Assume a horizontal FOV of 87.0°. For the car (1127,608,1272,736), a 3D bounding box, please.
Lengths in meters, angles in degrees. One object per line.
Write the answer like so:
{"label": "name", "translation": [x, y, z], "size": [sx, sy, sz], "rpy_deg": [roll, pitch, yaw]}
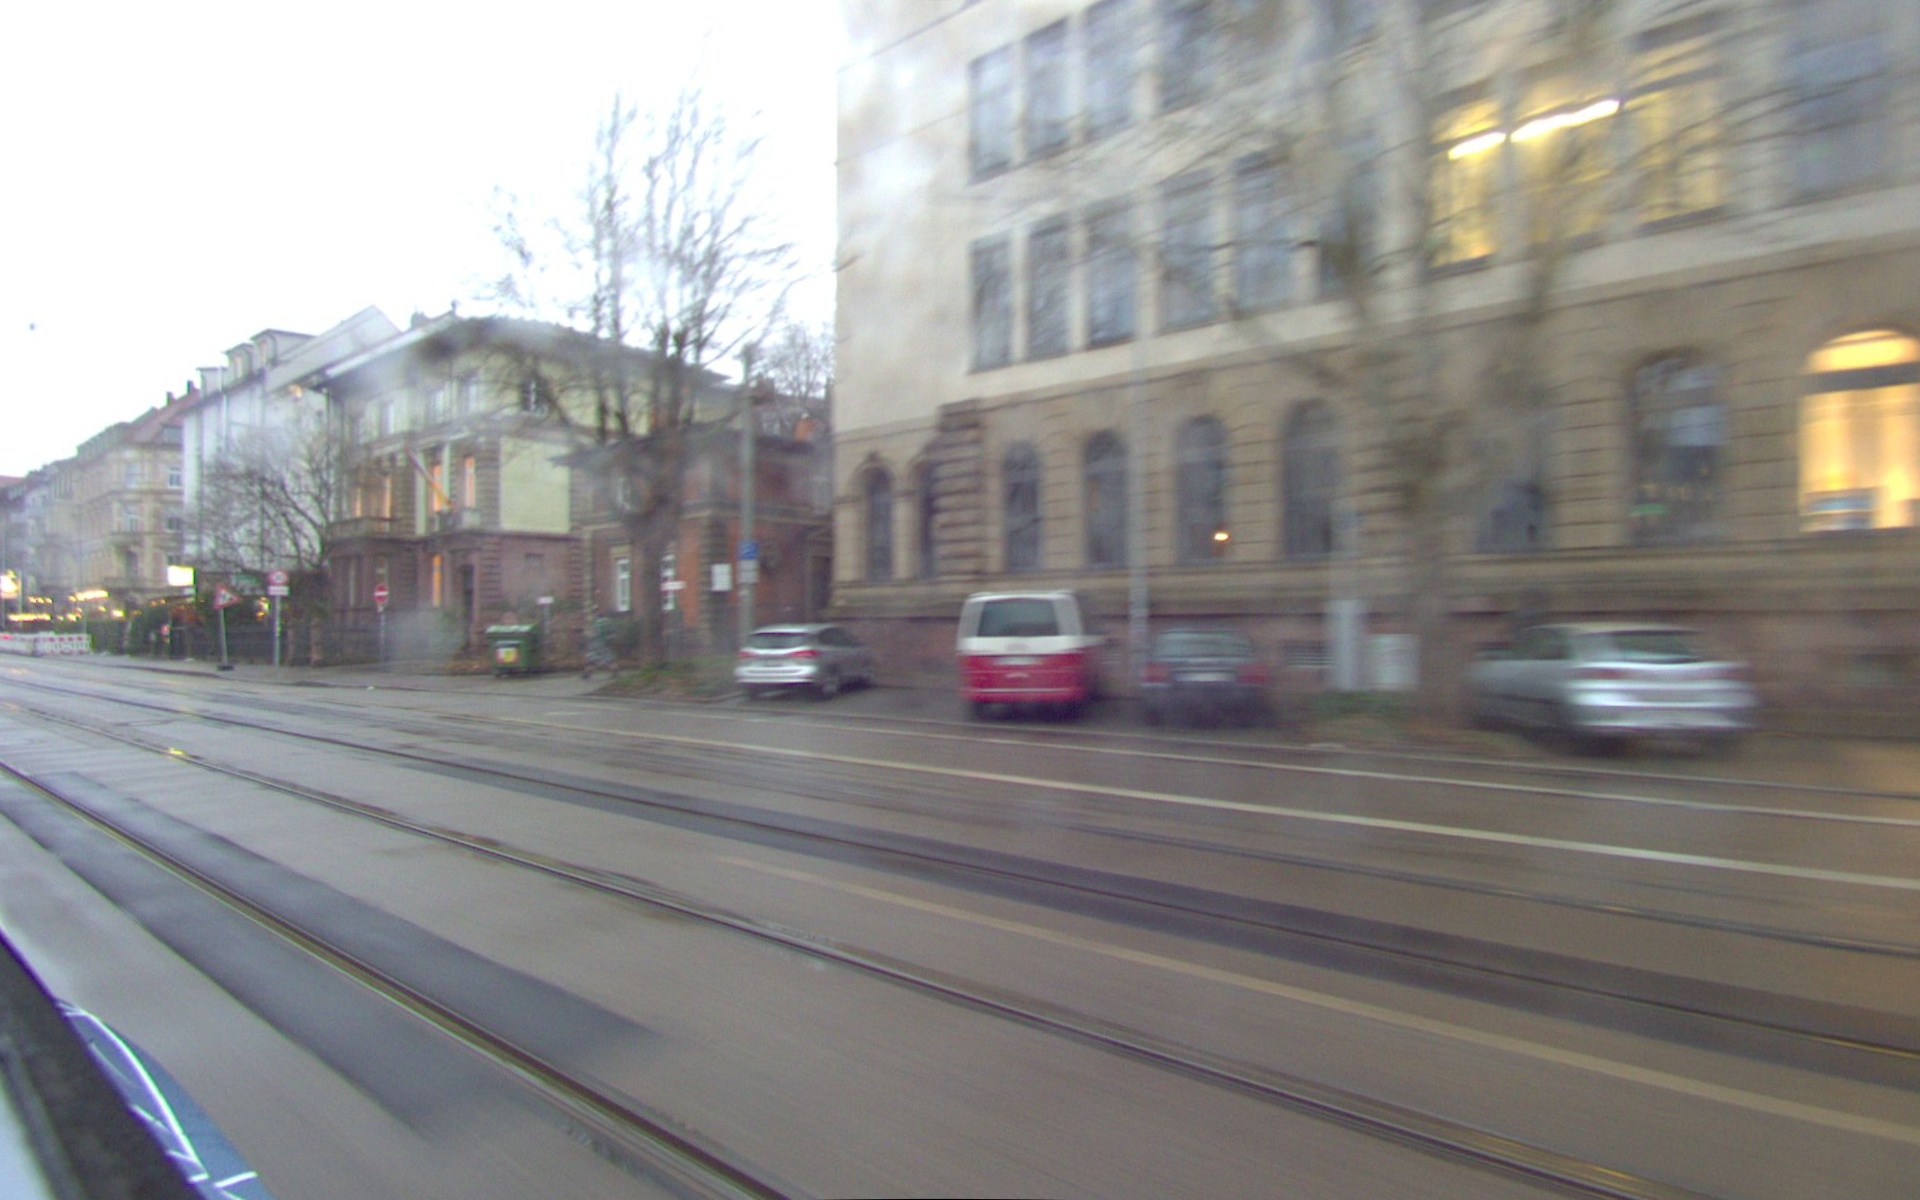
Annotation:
{"label": "car", "translation": [3.527, 0.968, 15.174], "size": [1.805, 1.551, 3.962], "rpy_deg": [-2, 1, 12]}

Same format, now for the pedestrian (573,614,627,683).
{"label": "pedestrian", "translation": [-9.374, 1.258, 26.361], "size": [0.940, 1.716, 0.919], "rpy_deg": [-2, 0, 17]}

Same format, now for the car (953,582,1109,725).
{"label": "car", "translation": [1.356, 0.760, 17.080], "size": [1.946, 2.069, 4.604], "rpy_deg": [-2, 1, 12]}

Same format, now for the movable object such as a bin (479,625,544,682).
{"label": "movable object such as a bin", "translation": [-12.362, 1.470, 27.916], "size": [1.326, 1.475, 0.985], "rpy_deg": [-2, 0, 3]}

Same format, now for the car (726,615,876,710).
{"label": "car", "translation": [-3.143, 1.202, 20.861], "size": [1.756, 1.603, 4.172], "rpy_deg": [-2, 1, 10]}

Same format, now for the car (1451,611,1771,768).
{"label": "car", "translation": [7.473, 0.933, 12.104], "size": [1.617, 1.468, 3.820], "rpy_deg": [-2, 1, 6]}
